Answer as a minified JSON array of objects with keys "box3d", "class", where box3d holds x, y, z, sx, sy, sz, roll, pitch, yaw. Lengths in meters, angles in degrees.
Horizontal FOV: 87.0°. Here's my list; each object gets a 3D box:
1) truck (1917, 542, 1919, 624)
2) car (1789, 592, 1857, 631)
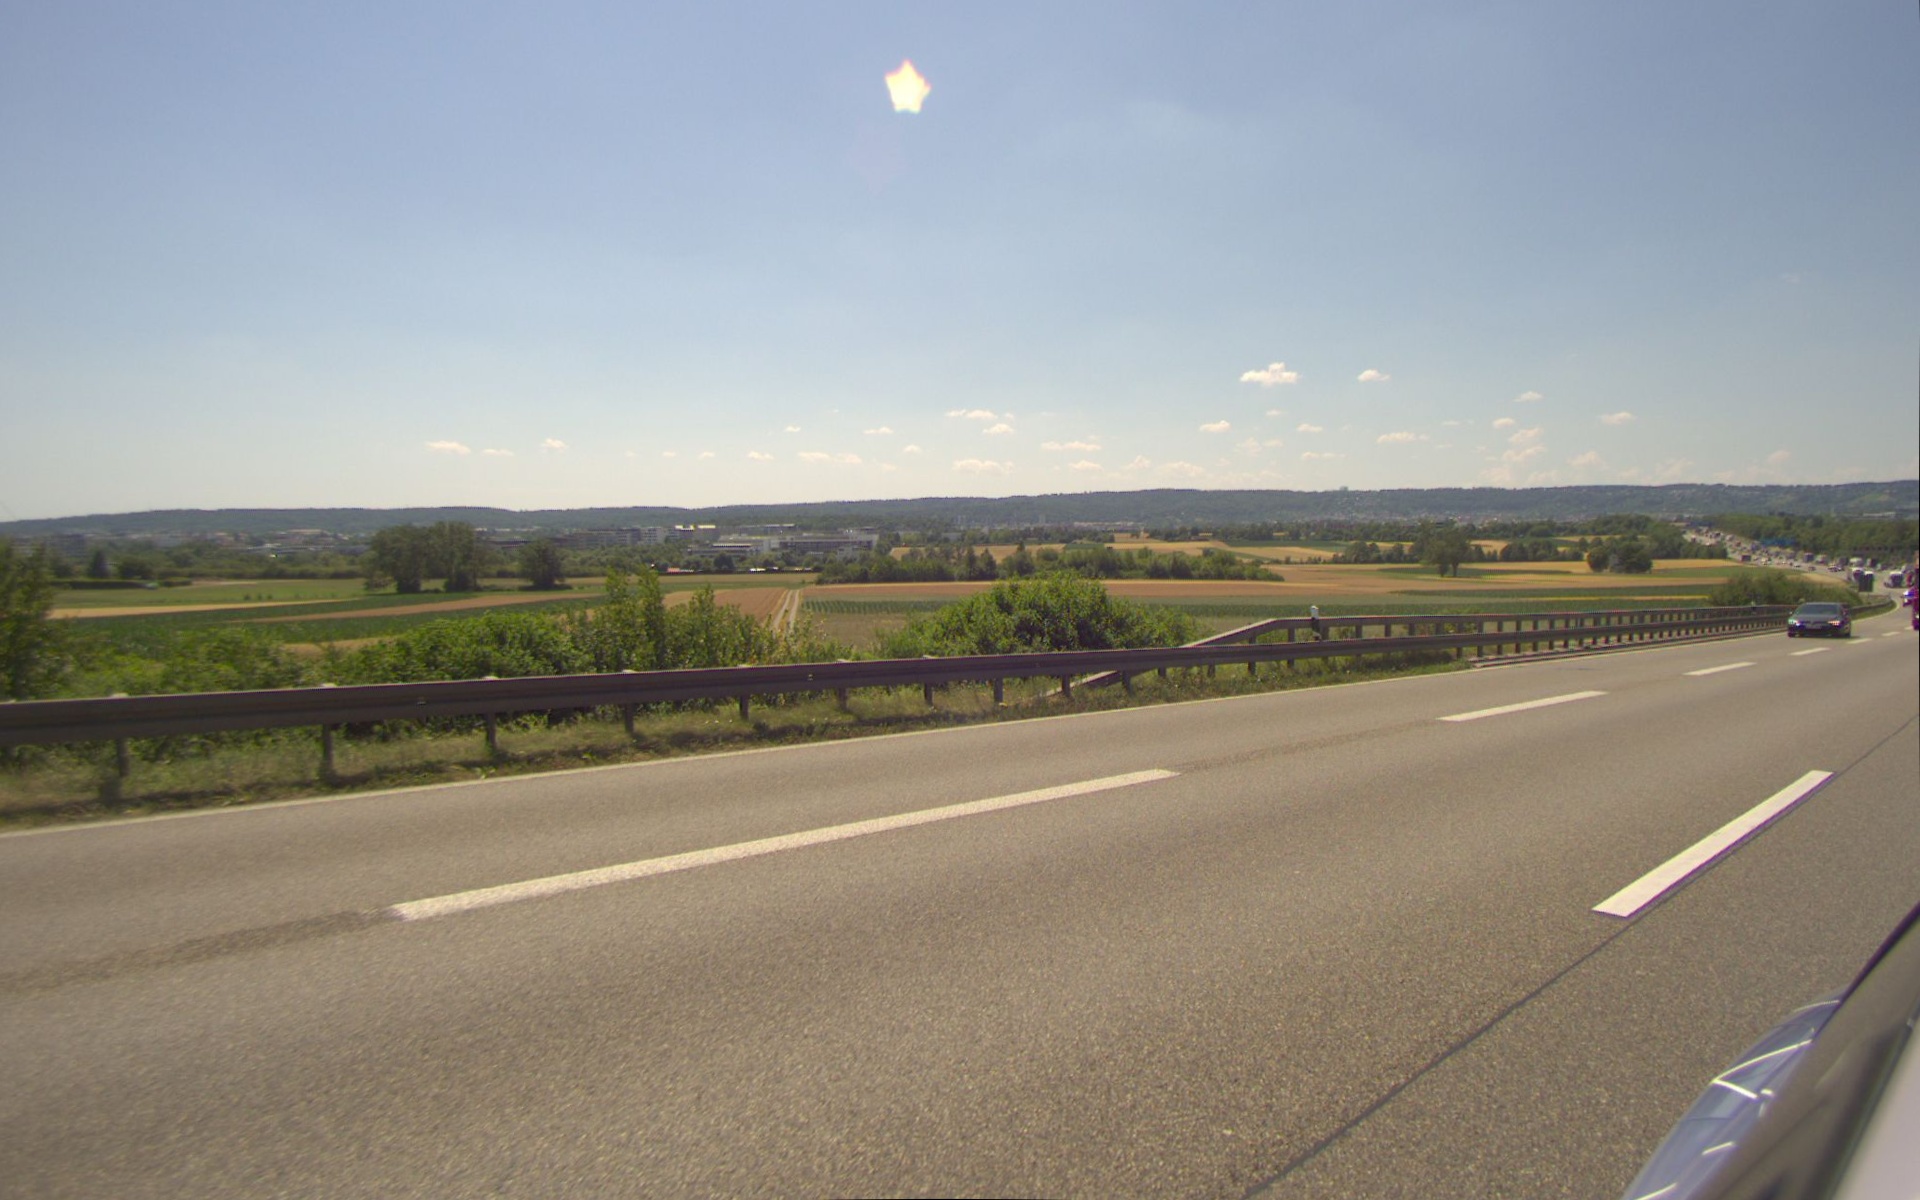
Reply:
[{"box3d":[51.233,-0.938,51.781,6.402,4.059,2.919,-2,1,-43],"class":"truck"},{"box3d":[36.014,0.438,42.205,2.031,1.571,3.938,0,1,43],"class":"car"}]
